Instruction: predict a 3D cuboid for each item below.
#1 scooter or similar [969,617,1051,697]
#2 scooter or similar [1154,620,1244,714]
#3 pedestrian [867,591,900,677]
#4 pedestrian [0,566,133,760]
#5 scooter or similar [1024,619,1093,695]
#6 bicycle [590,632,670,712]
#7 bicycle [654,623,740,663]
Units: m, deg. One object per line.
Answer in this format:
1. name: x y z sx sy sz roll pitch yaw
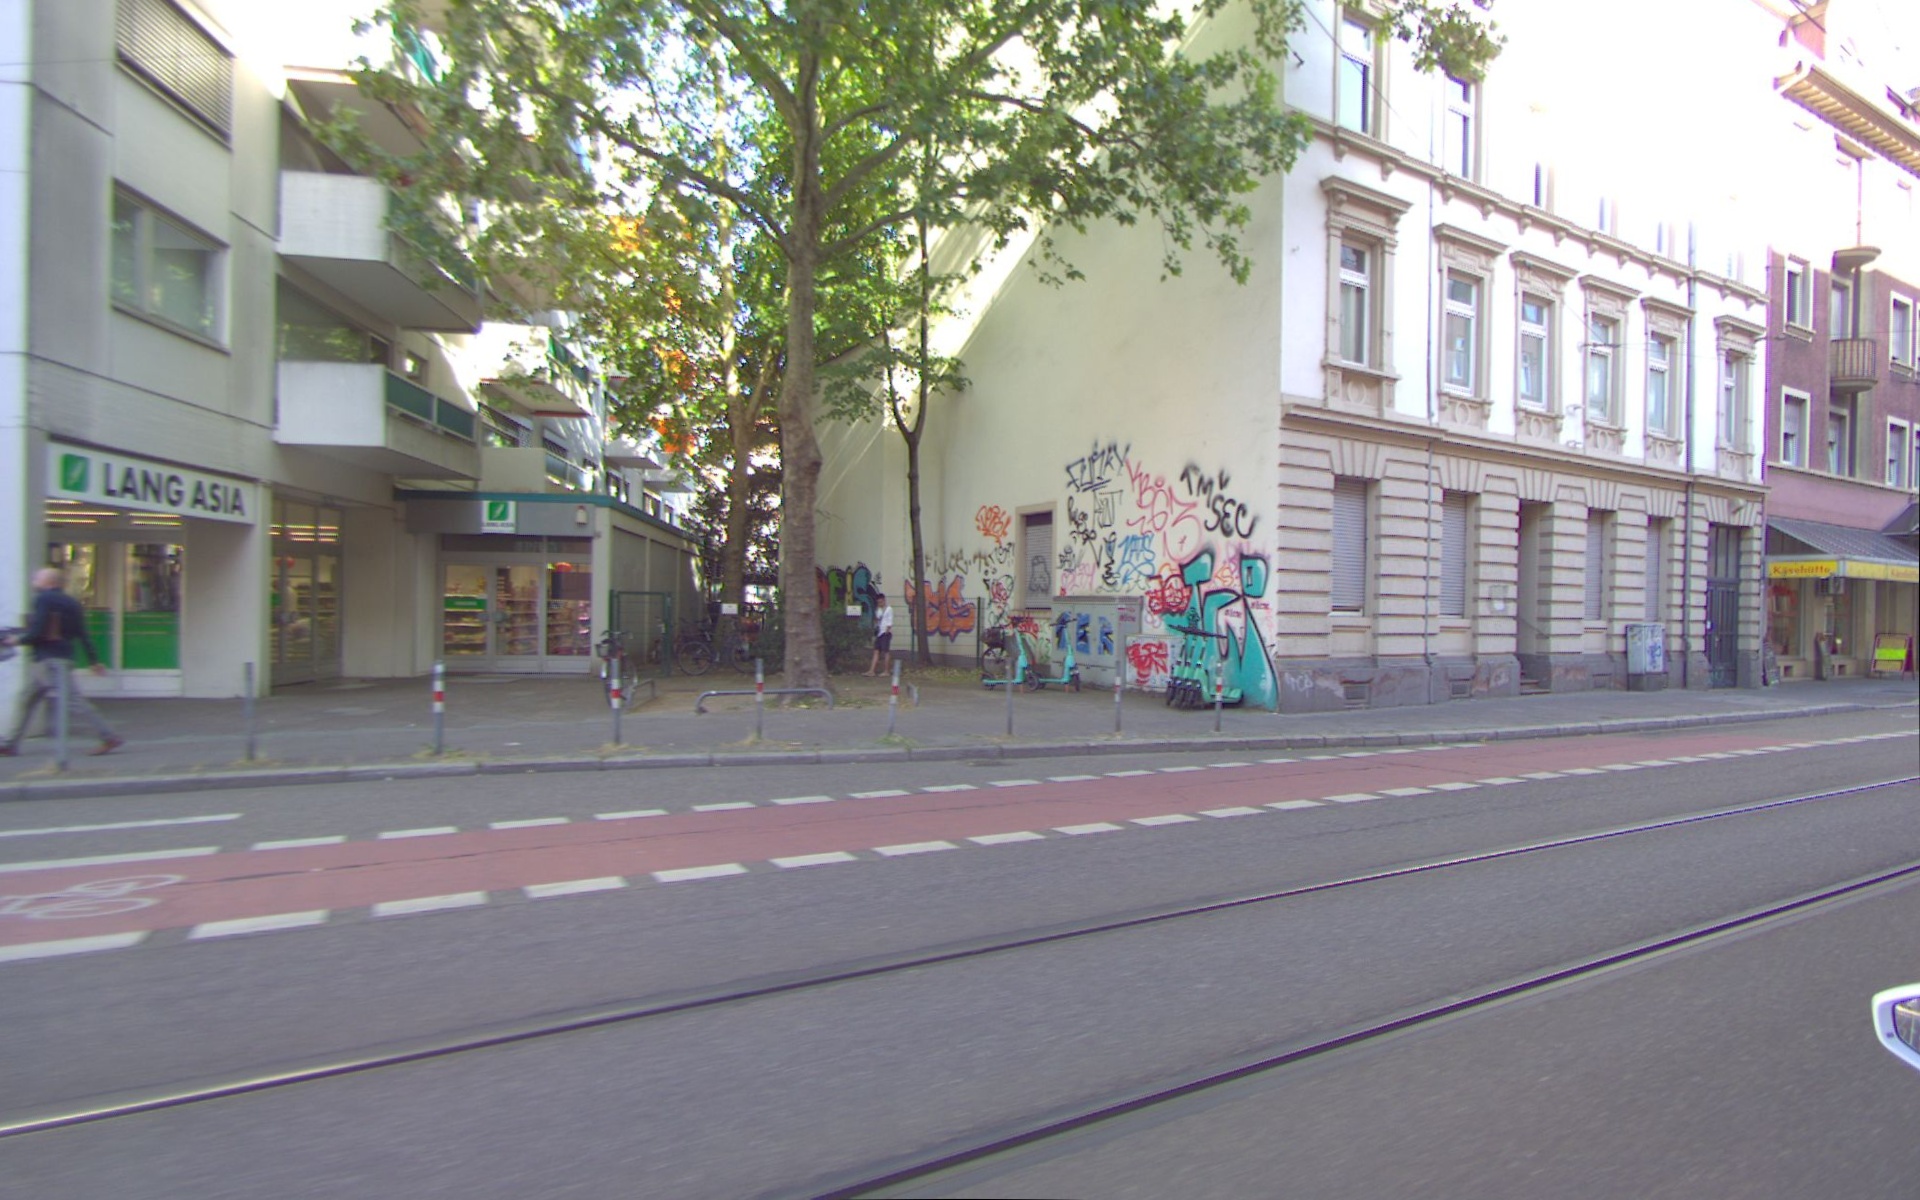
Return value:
1. scooter or similar: 0.831 0.939 16.987 0.762 1.275 1.217 0 0 -42
2. scooter or similar: 3.585 0.977 15.076 1.062 1.289 0.784 -1 3 -31
3. pedestrian: -1.589 0.702 20.865 0.541 1.741 0.453 1 0 -31
4. pedestrian: -8.728 0.583 9.666 1.010 1.789 0.681 0 0 -20
5. scooter or similar: 1.692 0.963 17.296 0.762 1.238 0.929 0 0 -42
6. bicycle: -4.857 1.031 14.907 0.652 1.048 1.921 1 -1 -3
7. bicycle: -6.288 1.033 24.052 1.951 0.925 0.503 1 0 -17
